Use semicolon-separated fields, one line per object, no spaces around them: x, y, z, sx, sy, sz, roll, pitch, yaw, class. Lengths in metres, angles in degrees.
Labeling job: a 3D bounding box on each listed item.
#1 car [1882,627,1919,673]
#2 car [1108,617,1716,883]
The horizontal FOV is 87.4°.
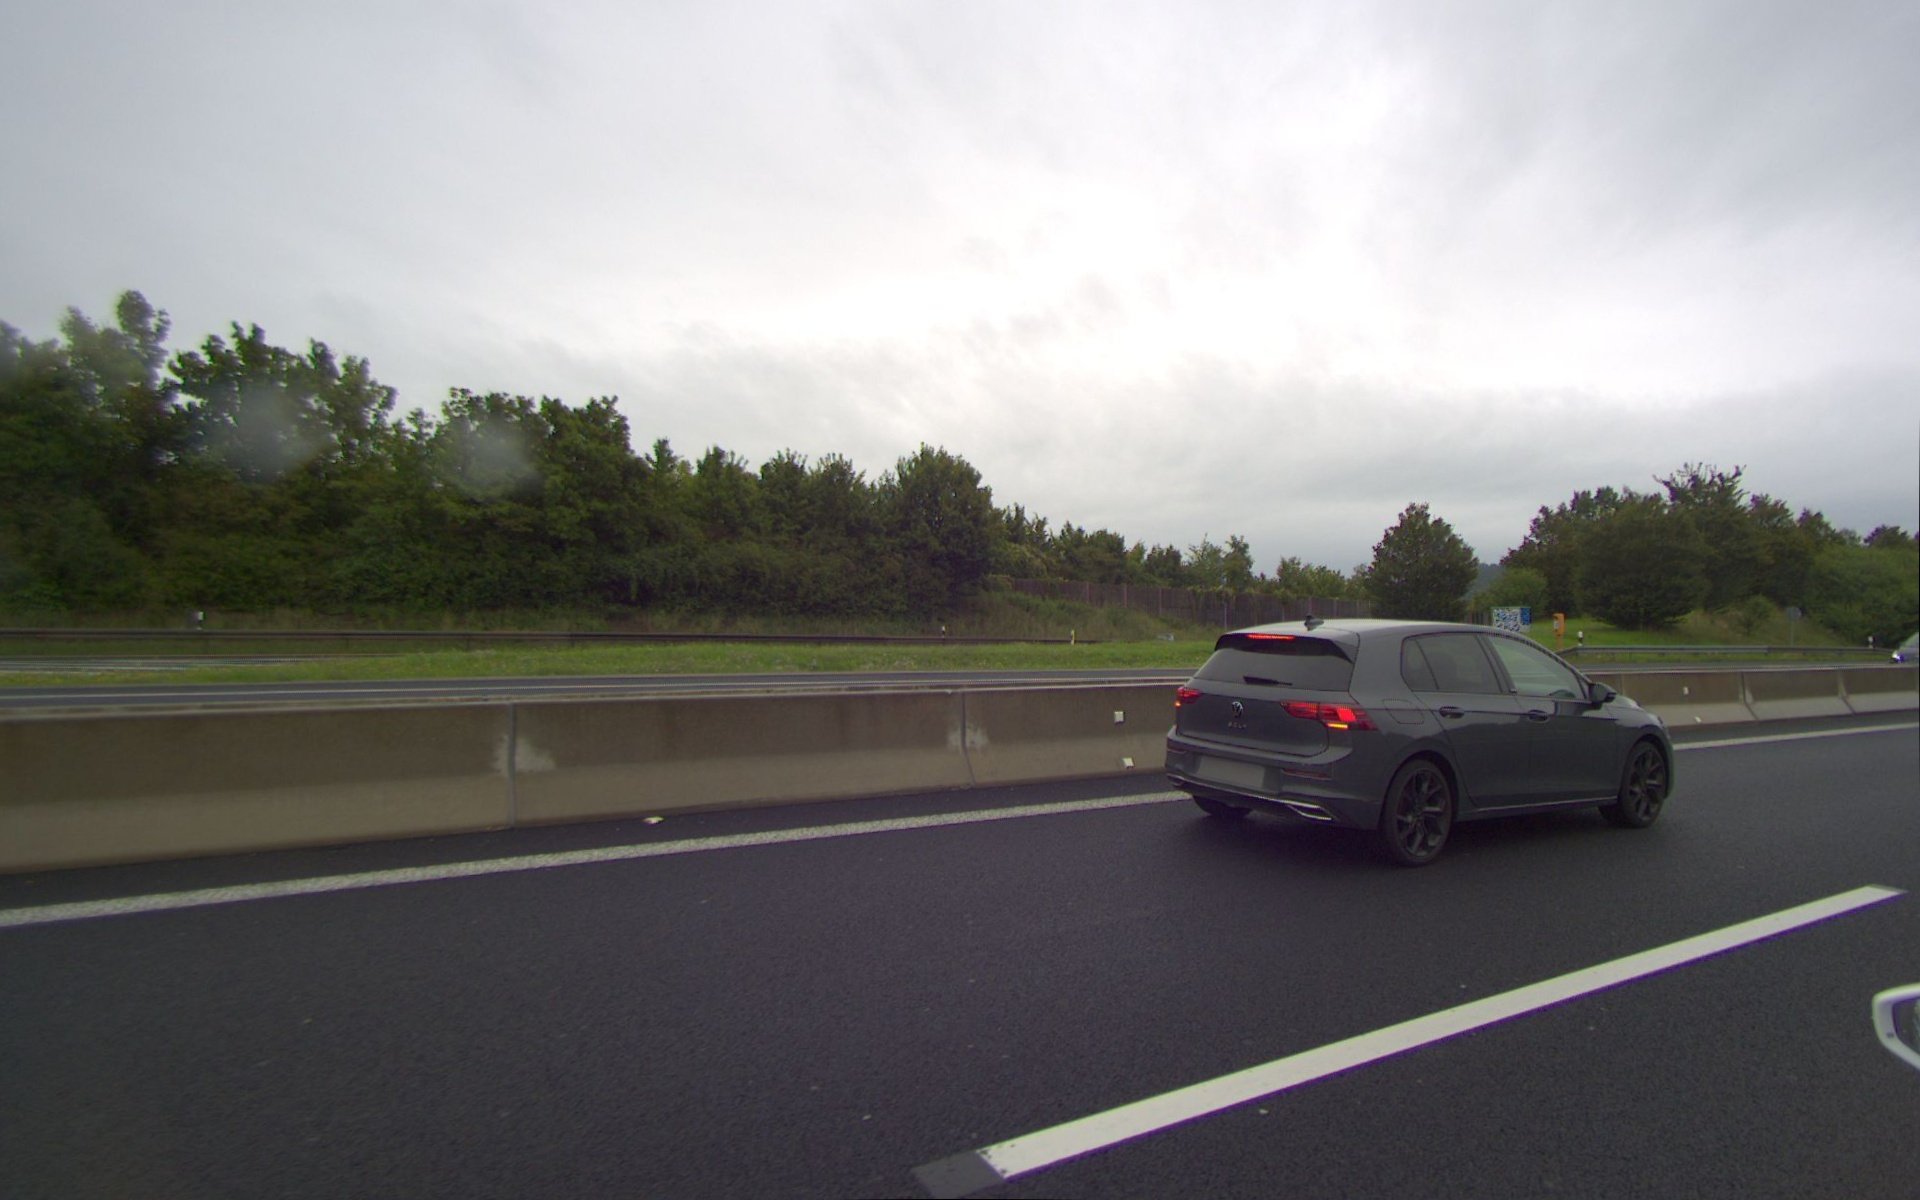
34.678;1.753;35.384;4.583;1.526;1.973;1;-1;-30;car
3.406;0.858;7.366;4.407;1.424;1.891;1;-1;-30;car
